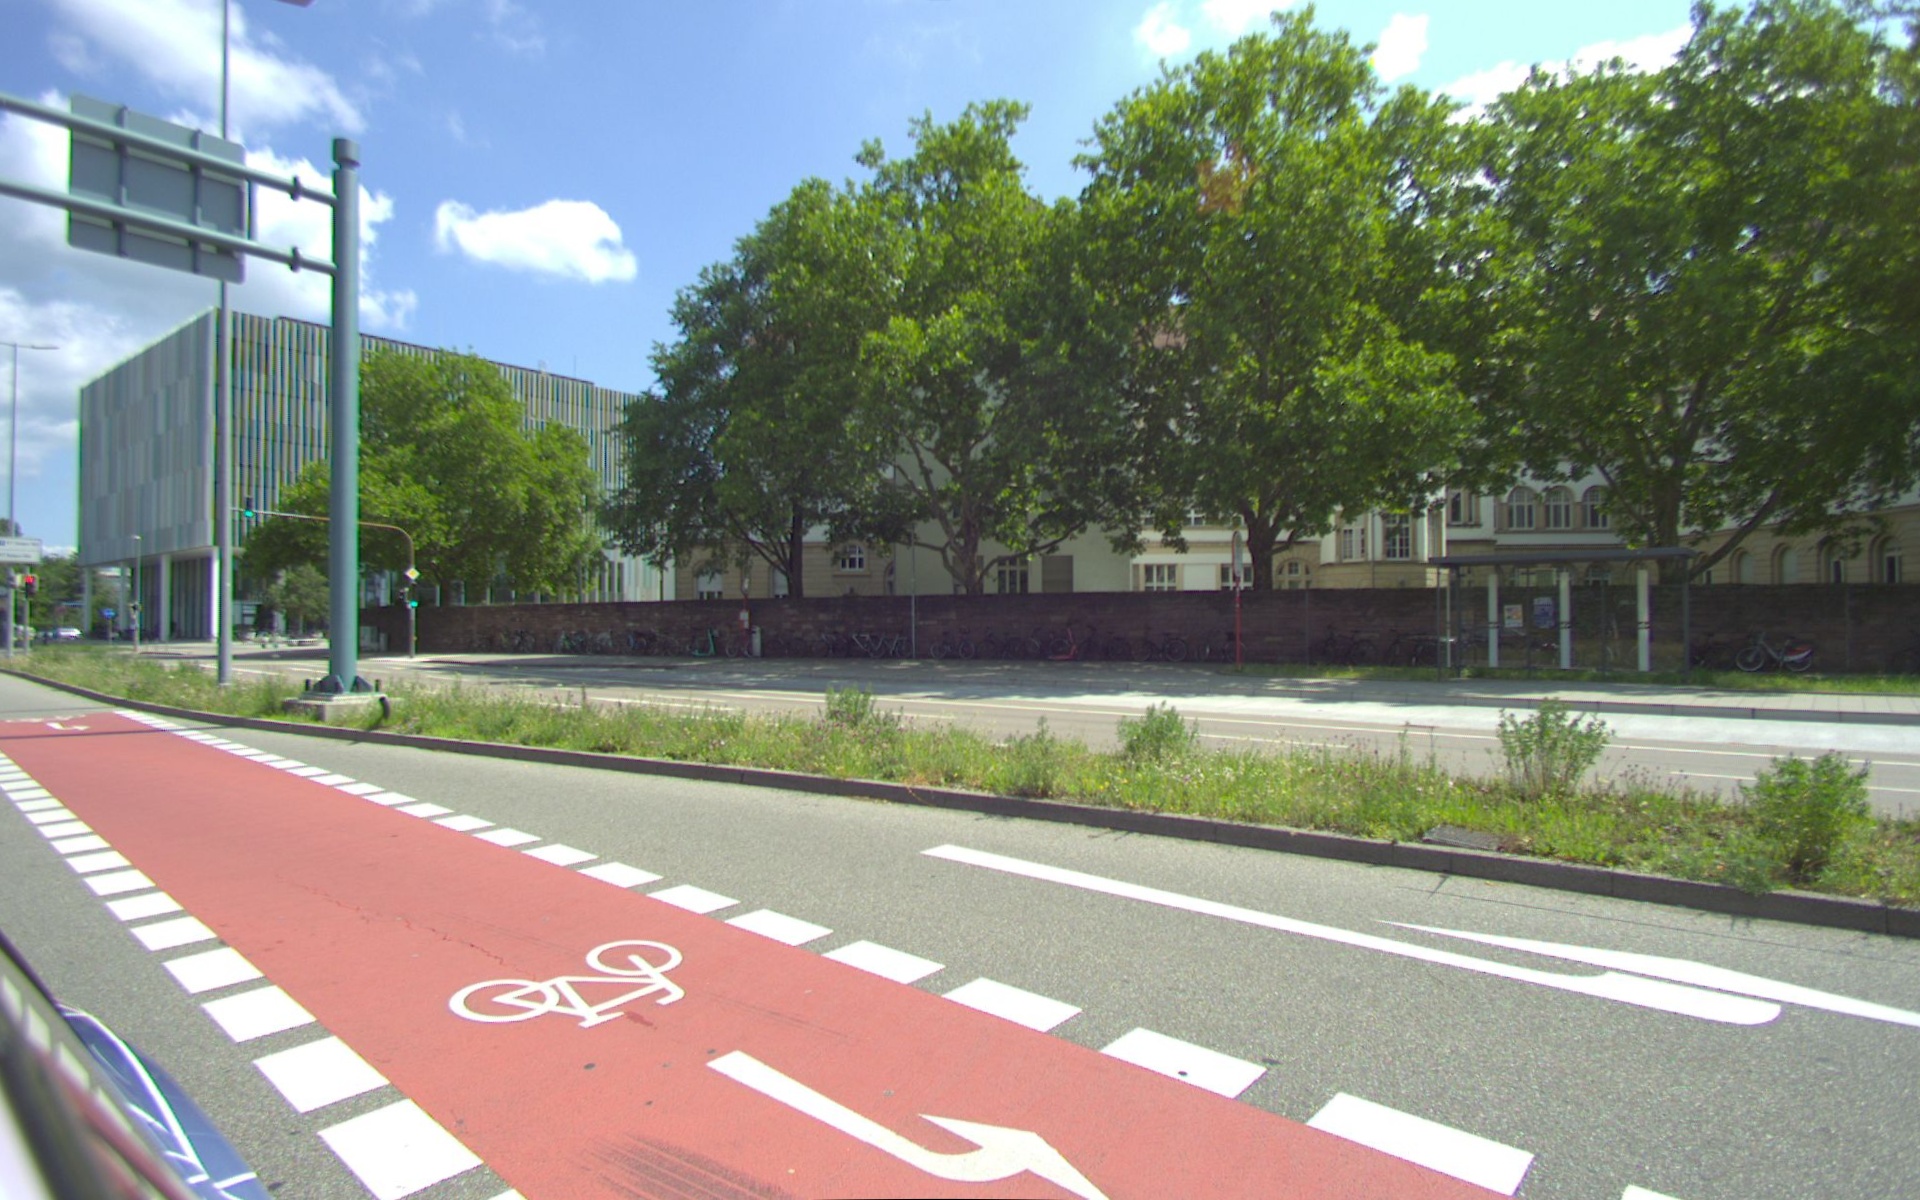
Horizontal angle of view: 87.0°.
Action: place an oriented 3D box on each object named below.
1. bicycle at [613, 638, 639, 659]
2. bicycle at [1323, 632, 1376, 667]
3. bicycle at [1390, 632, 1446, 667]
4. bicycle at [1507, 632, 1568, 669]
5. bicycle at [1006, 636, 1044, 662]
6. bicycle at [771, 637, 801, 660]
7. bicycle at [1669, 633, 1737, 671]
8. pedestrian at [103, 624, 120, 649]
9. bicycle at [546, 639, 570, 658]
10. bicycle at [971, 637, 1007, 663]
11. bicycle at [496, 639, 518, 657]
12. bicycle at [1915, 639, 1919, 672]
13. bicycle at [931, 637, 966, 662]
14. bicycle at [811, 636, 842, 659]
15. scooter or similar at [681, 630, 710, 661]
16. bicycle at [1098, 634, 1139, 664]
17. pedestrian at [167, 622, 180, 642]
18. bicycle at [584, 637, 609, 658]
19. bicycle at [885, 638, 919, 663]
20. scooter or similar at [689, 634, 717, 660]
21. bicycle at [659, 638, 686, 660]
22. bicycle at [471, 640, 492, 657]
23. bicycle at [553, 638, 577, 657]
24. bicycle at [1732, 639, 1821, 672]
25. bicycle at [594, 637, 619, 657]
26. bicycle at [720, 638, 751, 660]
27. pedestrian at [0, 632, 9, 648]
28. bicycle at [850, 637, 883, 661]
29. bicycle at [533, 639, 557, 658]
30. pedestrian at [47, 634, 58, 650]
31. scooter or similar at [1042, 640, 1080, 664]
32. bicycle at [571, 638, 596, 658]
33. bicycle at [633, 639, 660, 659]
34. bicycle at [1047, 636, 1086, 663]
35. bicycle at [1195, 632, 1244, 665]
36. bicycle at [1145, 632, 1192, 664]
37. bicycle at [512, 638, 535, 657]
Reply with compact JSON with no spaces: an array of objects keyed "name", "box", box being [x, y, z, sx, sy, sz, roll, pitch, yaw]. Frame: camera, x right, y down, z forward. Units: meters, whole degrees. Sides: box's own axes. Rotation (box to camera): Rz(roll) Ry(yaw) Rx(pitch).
[{"name":"bicycle","box":[-13.941,2.021,42.237,1.231,0.837,0.262,-1,-2,30]},{"name":"bicycle","box":[11.176,1.422,29.038,1.385,0.972,0.263,-1,-2,18]},{"name":"bicycle","box":[12.861,1.400,28.424,1.385,0.972,0.263,-1,-2,18]},{"name":"bicycle","box":[15.628,1.364,27.393,1.385,0.972,0.263,-1,-2,18]},{"name":"bicycle","box":[2.131,1.604,33.076,1.230,0.837,0.262,-1,-2,28]},{"name":"bicycle","box":[-6.471,1.789,37.575,1.231,0.837,0.262,-1,-2,30]},{"name":"bicycle","box":[19.230,1.341,26.199,1.385,0.972,0.263,-1,-2,18]},{"name":"pedestrian","box":[-70.286,2.994,83.844,0.994,2.029,0.853,-2,-2,39]},{"name":"bicycle","box":[-17.481,2.099,43.975,1.230,0.837,0.262,-1,-2,29]},{"name":"bicycle","box":[0.959,1.658,33.725,1.230,0.837,0.262,-1,-2,28]},{"name":"bicycle","box":[-21.052,2.220,46.977,1.231,0.837,0.262,-1,-2,30]},{"name":"bicycle","box":[24.434,1.353,24.606,1.734,0.823,0.382,-1,-2,18]},{"name":"bicycle","box":[-0.390,1.665,34.241,1.230,0.837,0.262,-1,-2,28]},{"name":"bicycle","box":[-4.877,1.719,36.890,1.231,0.837,0.262,-1,-2,30]},{"name":"scooter or similar","box":[-10.169,1.754,38.940,1.230,1.199,0.262,-1,-2,29]},{"name":"bicycle","box":[4.956,1.517,31.629,1.230,0.915,0.262,-1,-2,28]},{"name":"pedestrian","box":[-80.418,3.316,103.491,0.994,2.029,0.853,-2,-3,40]},{"name":"bicycle","box":[-15.314,1.997,42.596,1.230,0.837,0.262,-1,-2,29]},{"name":"bicycle","box":[-2.016,1.745,35.124,1.231,0.837,0.262,-1,-2,30]},{"name":"scooter or similar","box":[-10.145,1.854,39.928,1.133,1.028,0.264,-1,-2,19]},{"name":"bicycle","box":[-11.539,1.959,40.573,1.231,0.837,0.262,-1,-2,30]},{"name":"bicycle","box":[-22.690,2.295,47.968,1.231,0.837,0.262,-1,-2,30]},{"name":"bicycle","box":[-17.406,2.103,44.570,1.230,0.837,0.262,-1,-2,29]},{"name":"bicycle","box":[20.741,1.401,25.725,1.734,0.823,0.327,-1,-2,18]},{"name":"bicycle","box":[-15.009,2.010,42.905,1.231,0.837,0.262,-1,-2,30]},{"name":"bicycle","box":[-8.647,1.879,38.958,1.226,0.837,0.263,-1,-2,19]},{"name":"pedestrian","box":[-97.825,4.081,103.320,0.994,1.669,0.853,-2,-2,39]},{"name":"bicycle","box":[-3.331,1.747,35.904,1.231,0.837,0.262,-1,-2,30]},{"name":"bicycle","box":[-18.594,2.155,45.320,1.230,0.837,0.262,-1,-2,29]},{"name":"pedestrian","box":[-86.746,4.003,96.731,0.689,1.464,0.687,-2,-2,43]},{"name":"scooter or similar","box":[3.176,1.623,31.814,1.133,0.734,0.264,-1,-2,18]},{"name":"bicycle","box":[-16.273,2.074,43.723,1.231,0.837,0.262,-1,-2,30]},{"name":"bicycle","box":[-12.877,2.003,41.554,1.231,0.837,0.262,-1,-2,30]},{"name":"bicycle","box":[3.407,1.588,32.464,1.230,0.837,0.262,-1,-2,28]},{"name":"bicycle","box":[7.804,1.464,30.422,1.389,0.972,0.262,-1,-2,28]},{"name":"bicycle","box":[6.398,1.471,31.042,1.385,0.972,0.263,-1,-2,20]},{"name":"bicycle","box":[-19.956,2.179,46.236,1.230,0.837,0.262,-1,-2,29]}]
